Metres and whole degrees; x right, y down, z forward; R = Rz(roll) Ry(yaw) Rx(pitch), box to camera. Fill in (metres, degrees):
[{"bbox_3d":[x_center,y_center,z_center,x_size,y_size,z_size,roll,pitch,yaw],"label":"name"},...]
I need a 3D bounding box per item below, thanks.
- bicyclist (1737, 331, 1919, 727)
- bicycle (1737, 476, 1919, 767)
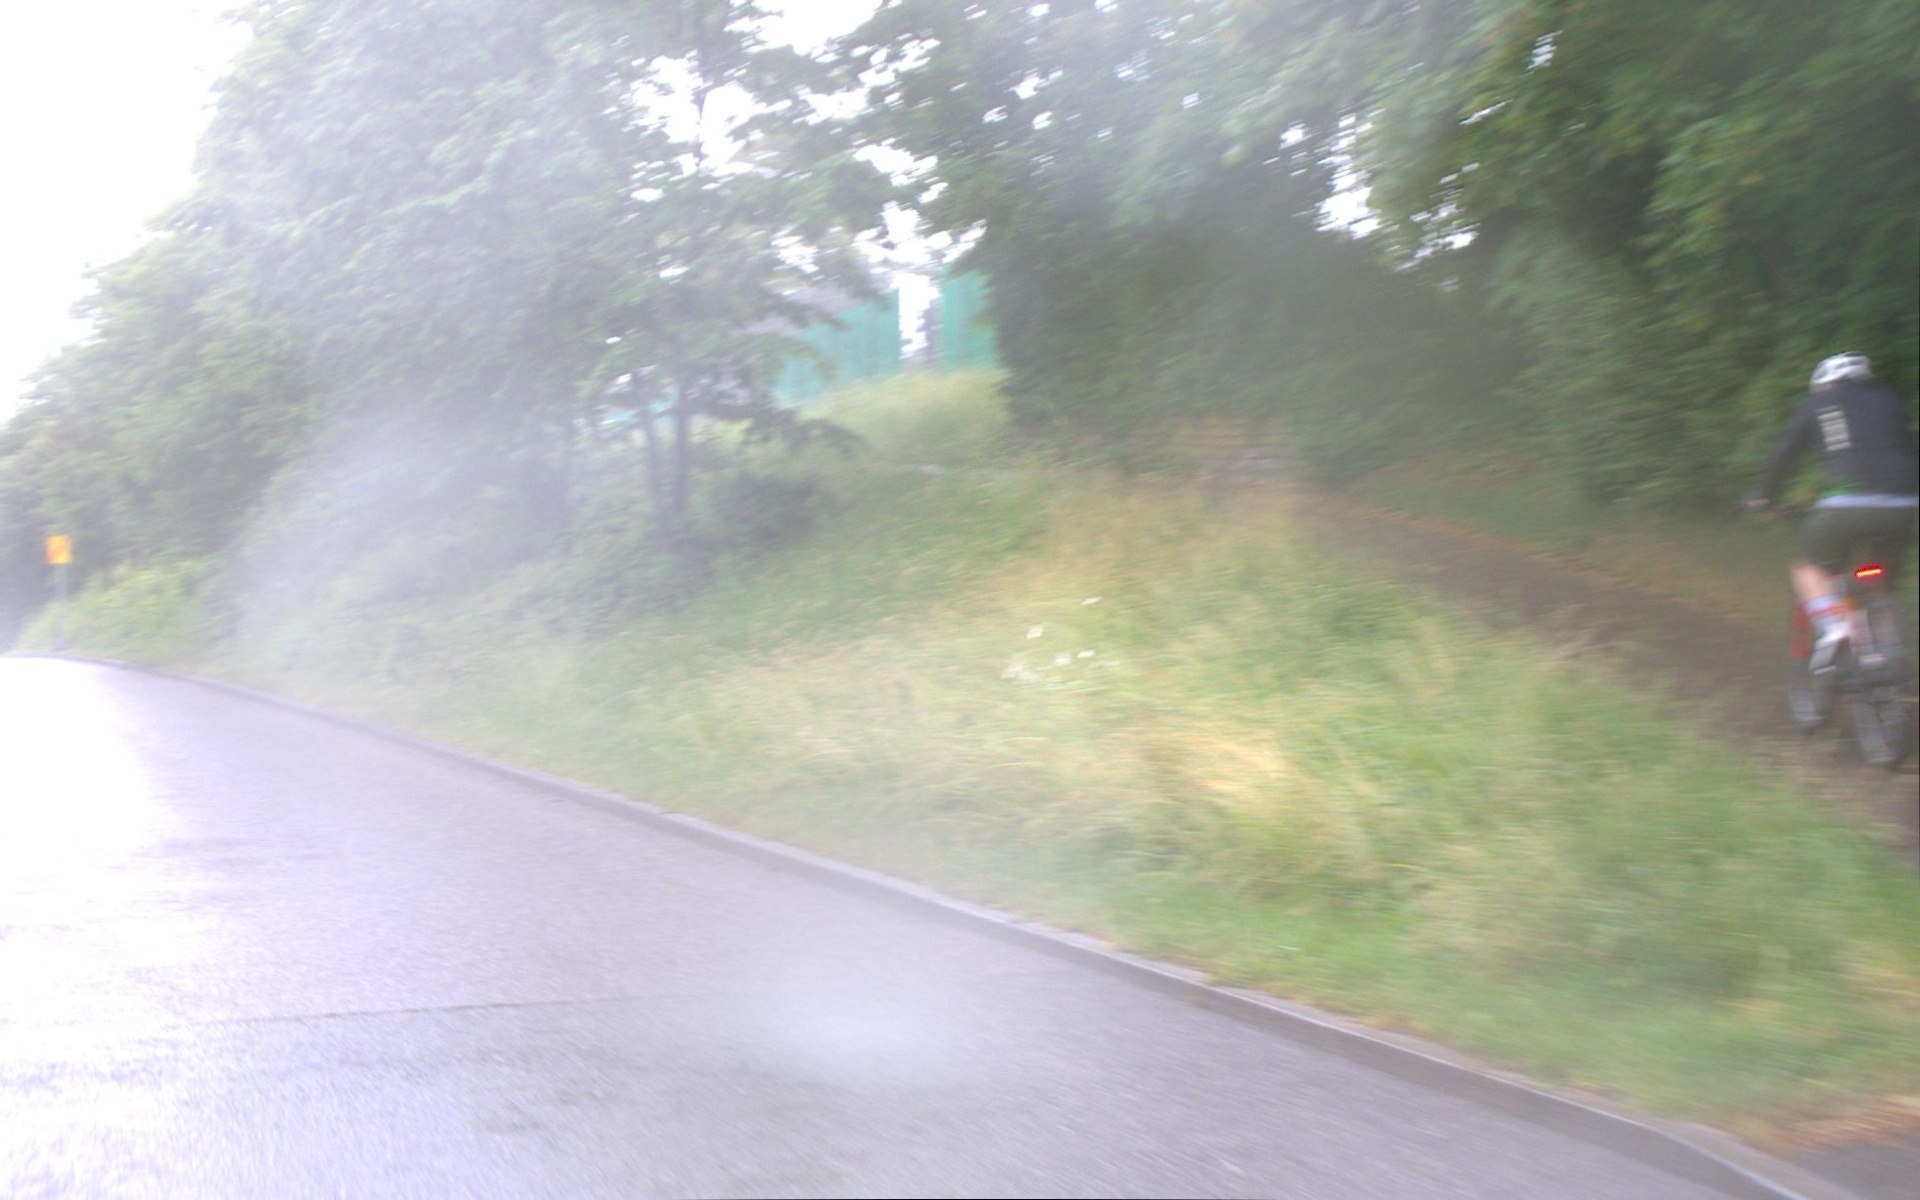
[{"bbox_3d":[3.872,-0.328,14.641,0.720,1.609,0.906,-1,6,-15],"label":"bicyclist"},{"bbox_3d":[3.891,0.057,14.673,0.527,1.081,1.621,-1,5,-9],"label":"bicycle"}]
